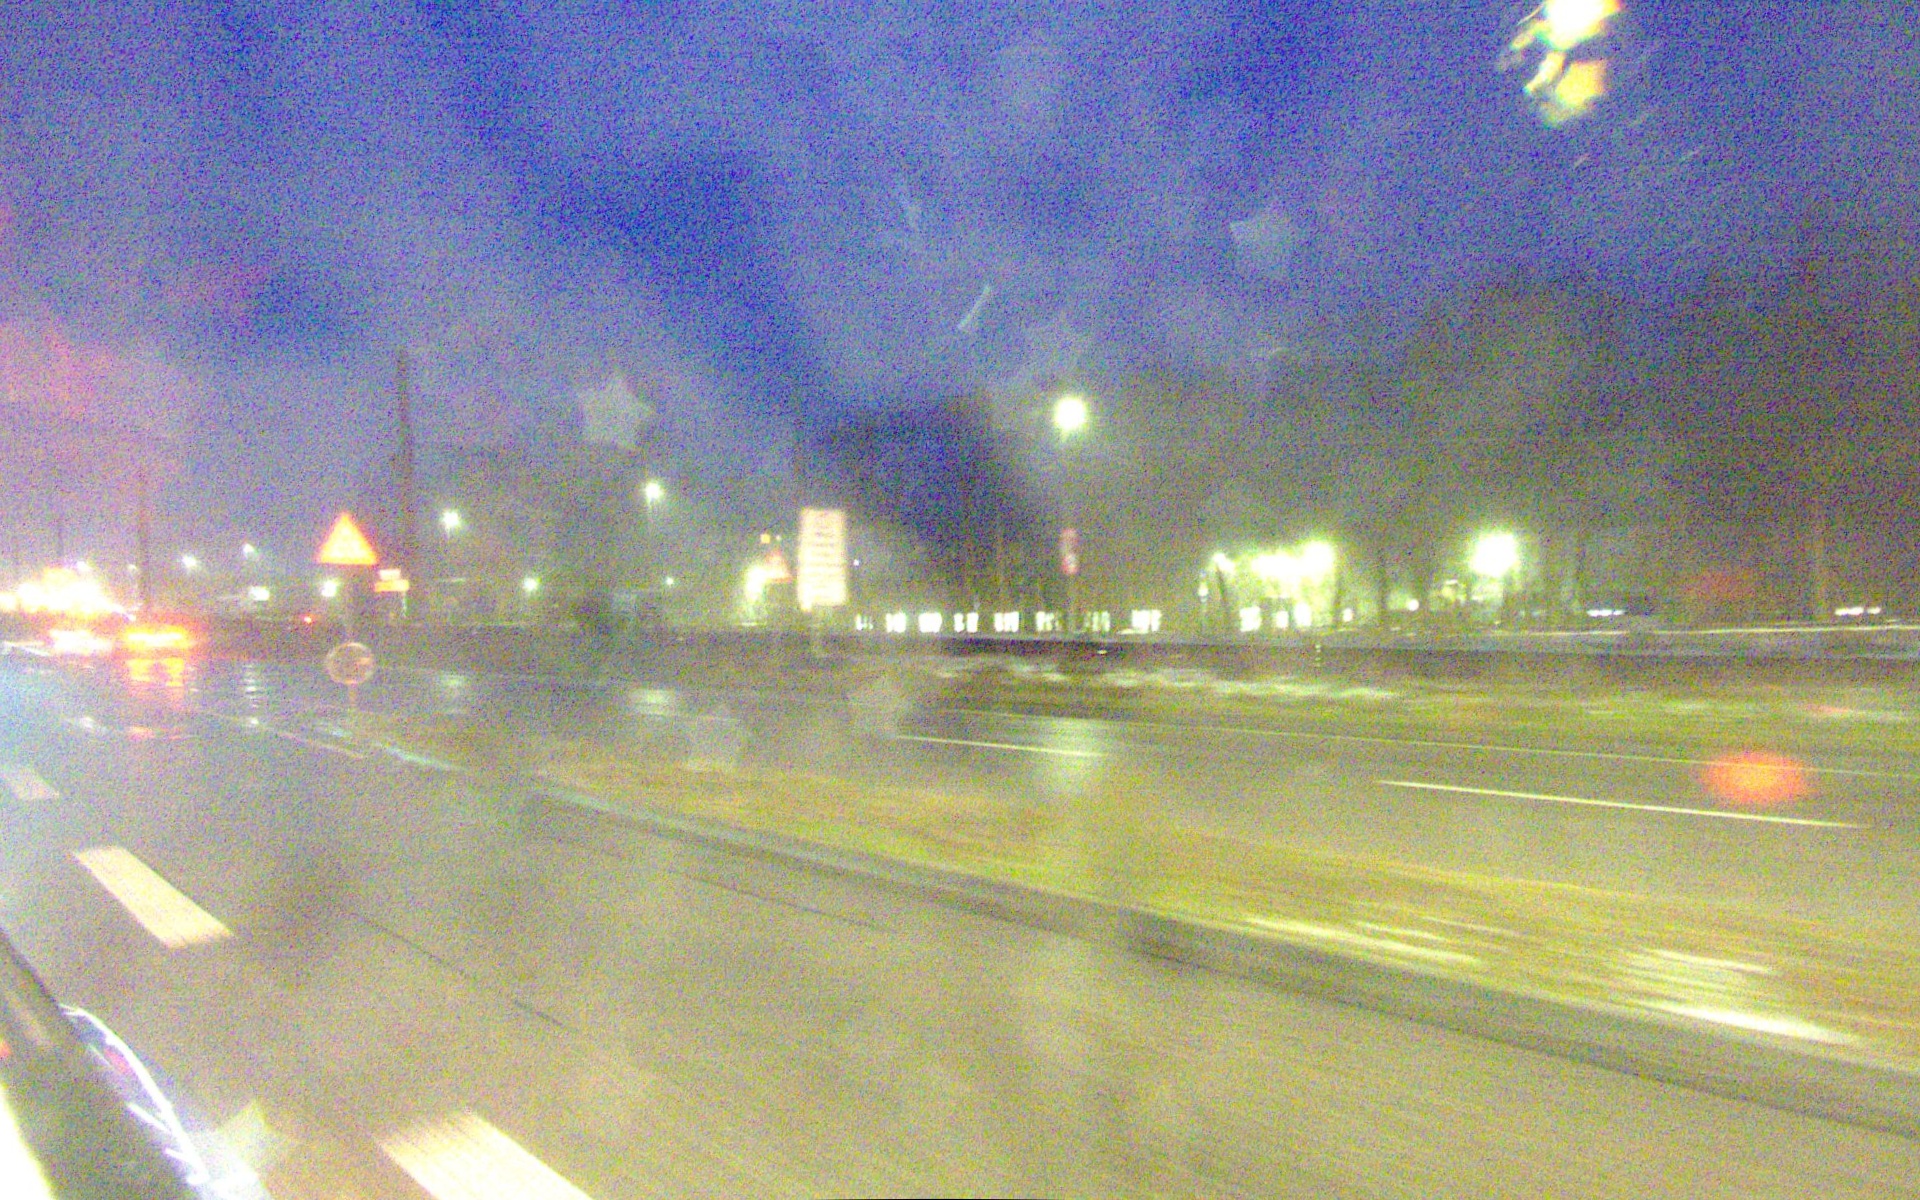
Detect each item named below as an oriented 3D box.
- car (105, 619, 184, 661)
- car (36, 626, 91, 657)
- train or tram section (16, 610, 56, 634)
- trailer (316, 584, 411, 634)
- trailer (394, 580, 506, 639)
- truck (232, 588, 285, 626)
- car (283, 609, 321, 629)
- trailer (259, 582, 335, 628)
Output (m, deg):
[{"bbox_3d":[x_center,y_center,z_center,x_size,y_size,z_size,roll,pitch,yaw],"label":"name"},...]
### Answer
[{"bbox_3d":[-35.233,1.684,43.676,4.648,1.654,1.744,-1,0,40],"label":"car"},{"bbox_3d":[-50.388,2.309,56.864,4.028,1.600,1.783,-1,1,41],"label":"car"},{"bbox_3d":[-175.832,3.948,192.332,37.149,3.842,2.667,0,4,43],"label":"train or tram section"},{"bbox_3d":[-61.887,0.851,104.743,15.515,4.643,3.929,0,4,43],"label":"trailer"},{"bbox_3d":[-45.535,0.737,89.999,14.248,4.643,3.929,0,4,43],"label":"trailer"},{"bbox_3d":[-93.274,0.867,134.488,10.213,4.643,3.403,0,4,43],"label":"truck"},{"bbox_3d":[-59.606,1.716,91.654,4.217,1.706,1.767,-2,1,42],"label":"car"},{"bbox_3d":[-80.652,0.571,122.913,14.835,5.049,3.929,0,4,43],"label":"trailer"}]
